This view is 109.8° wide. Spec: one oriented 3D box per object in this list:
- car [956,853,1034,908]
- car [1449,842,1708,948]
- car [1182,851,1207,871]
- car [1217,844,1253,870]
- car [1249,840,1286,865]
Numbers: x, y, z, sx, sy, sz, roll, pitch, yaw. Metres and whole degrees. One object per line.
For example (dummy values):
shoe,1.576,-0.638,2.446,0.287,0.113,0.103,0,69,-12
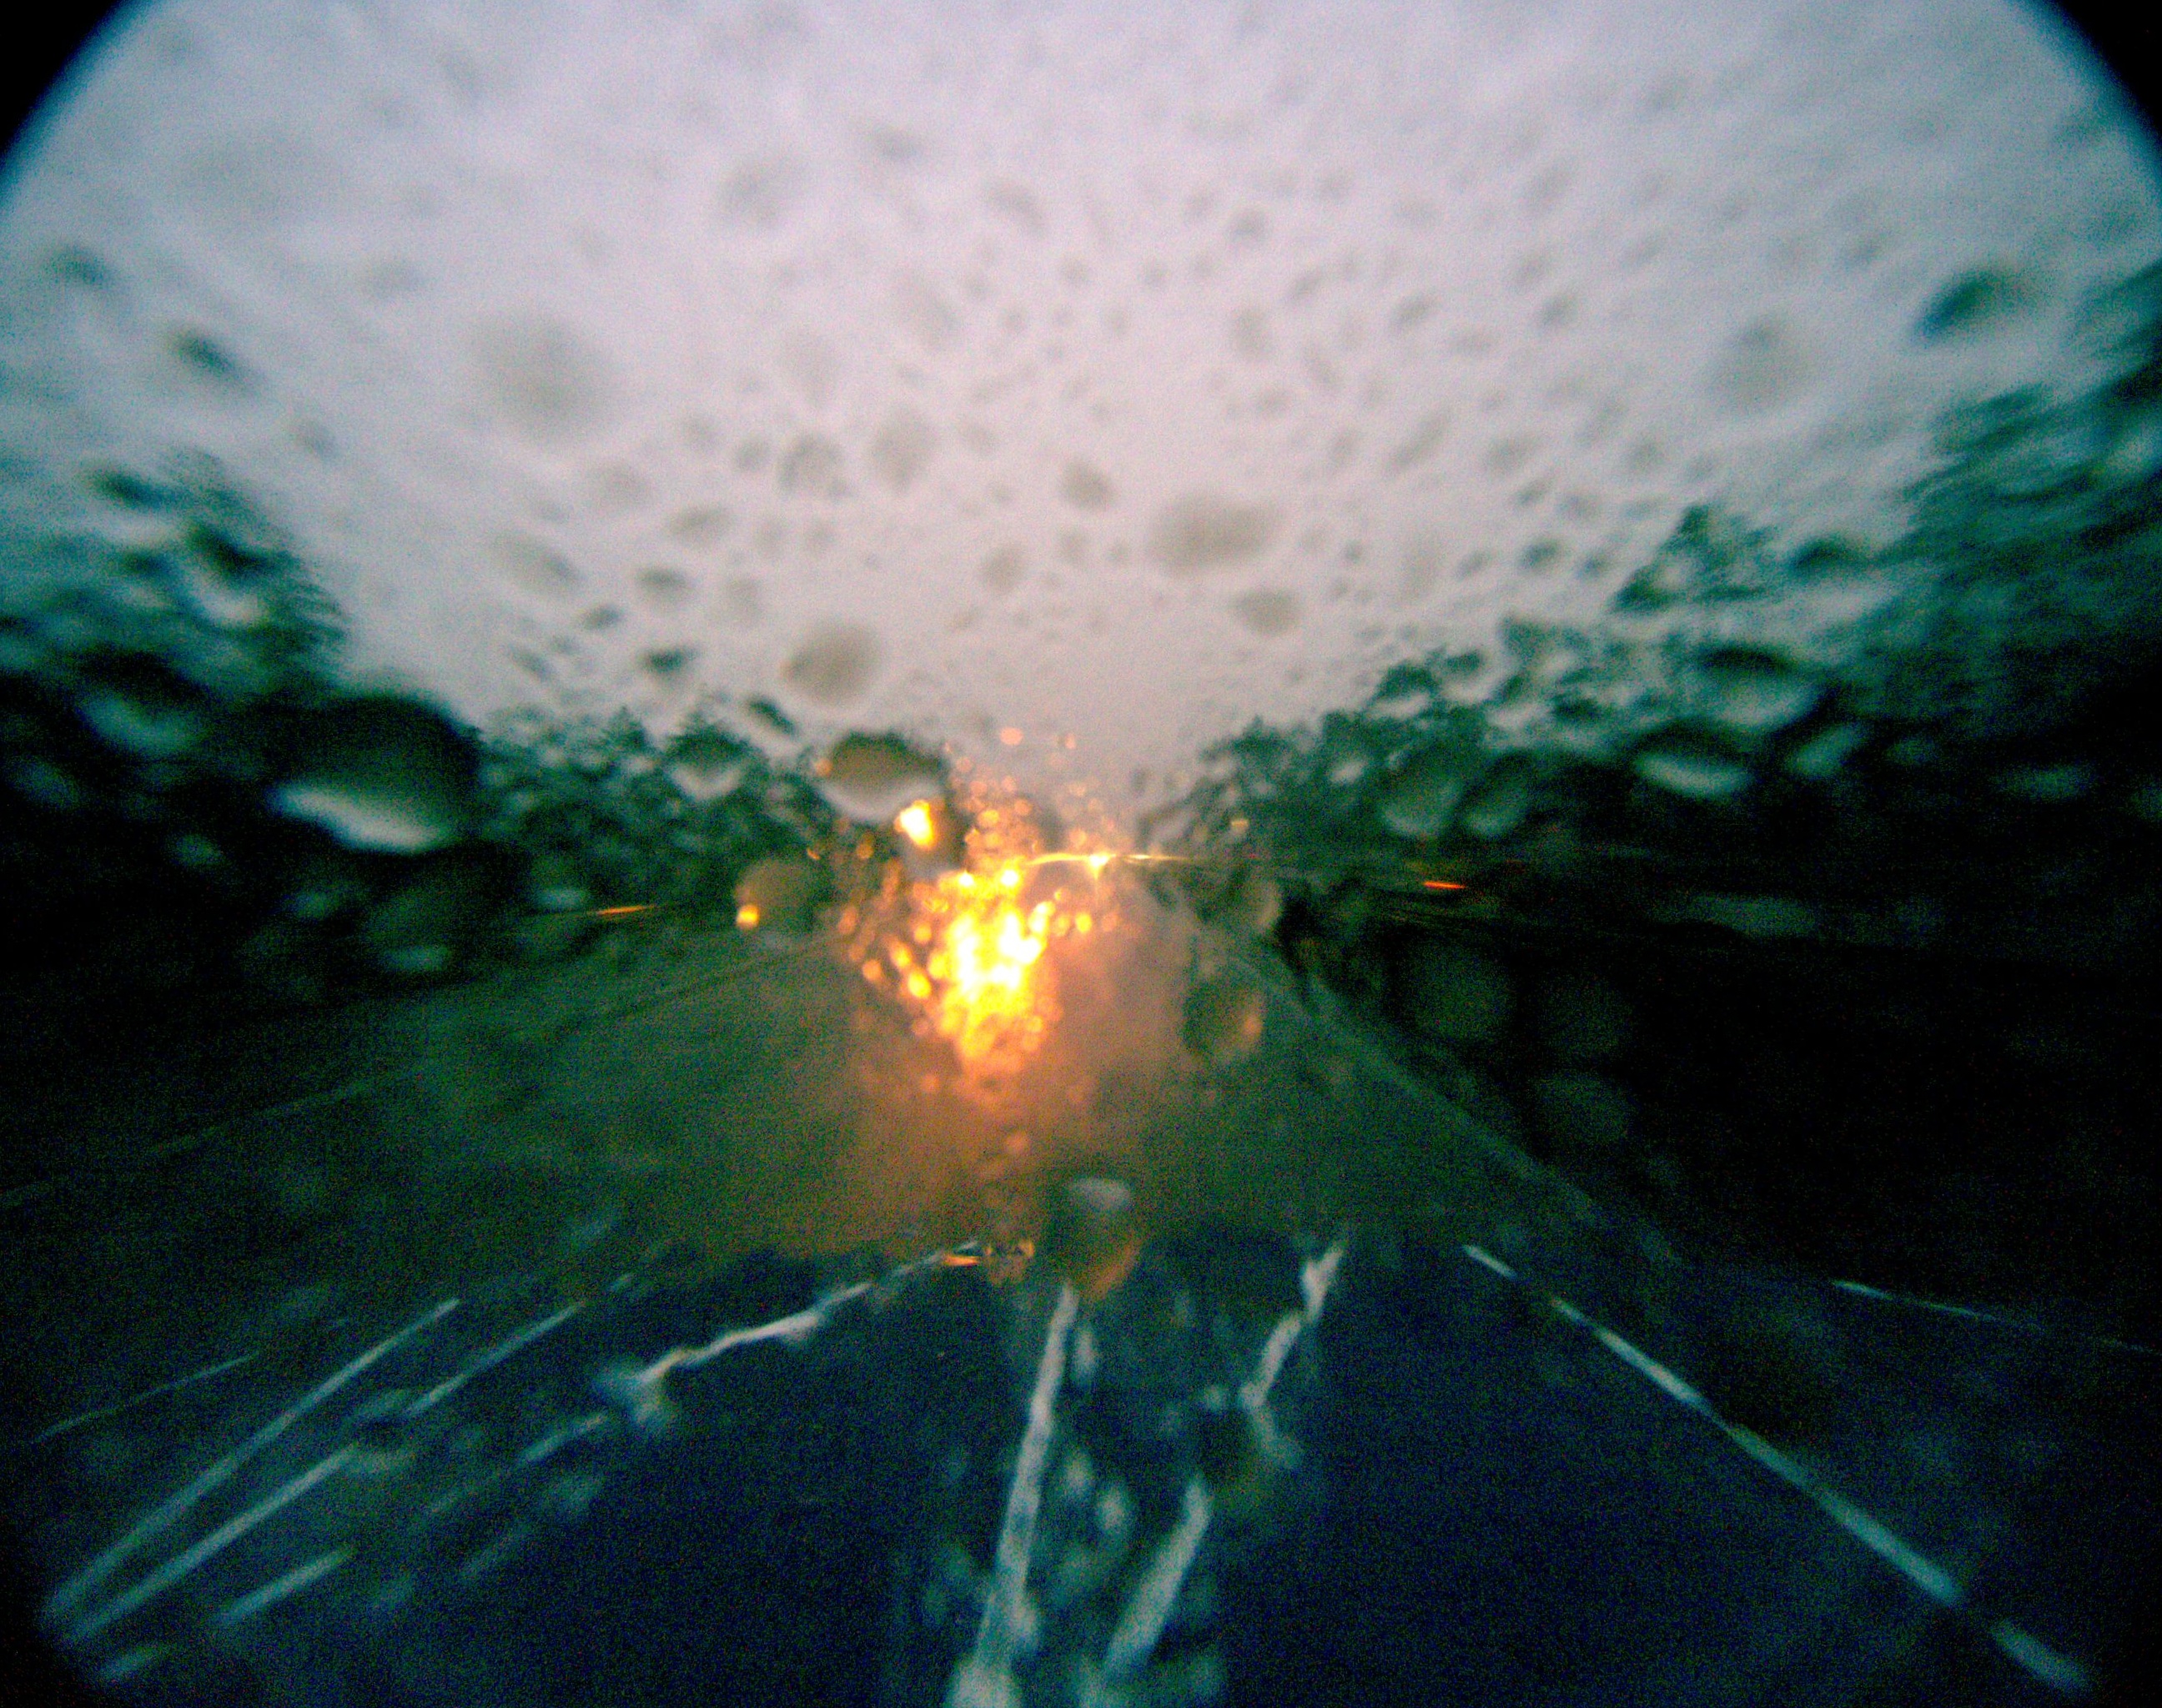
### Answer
car,-2.885,0.856,26.587,2.075,1.688,4.461,-2,0,1
car,8.225,0.582,13.111,1.681,1.485,4.257,-2,0,0
car,9.741,0.613,65.214,1.726,1.597,3.514,-2,0,2
car,9.411,0.177,46.679,1.432,1.520,3.775,-2,0,0
car,14.295,-0.103,58.476,1.988,1.796,4.000,-2,0,2
